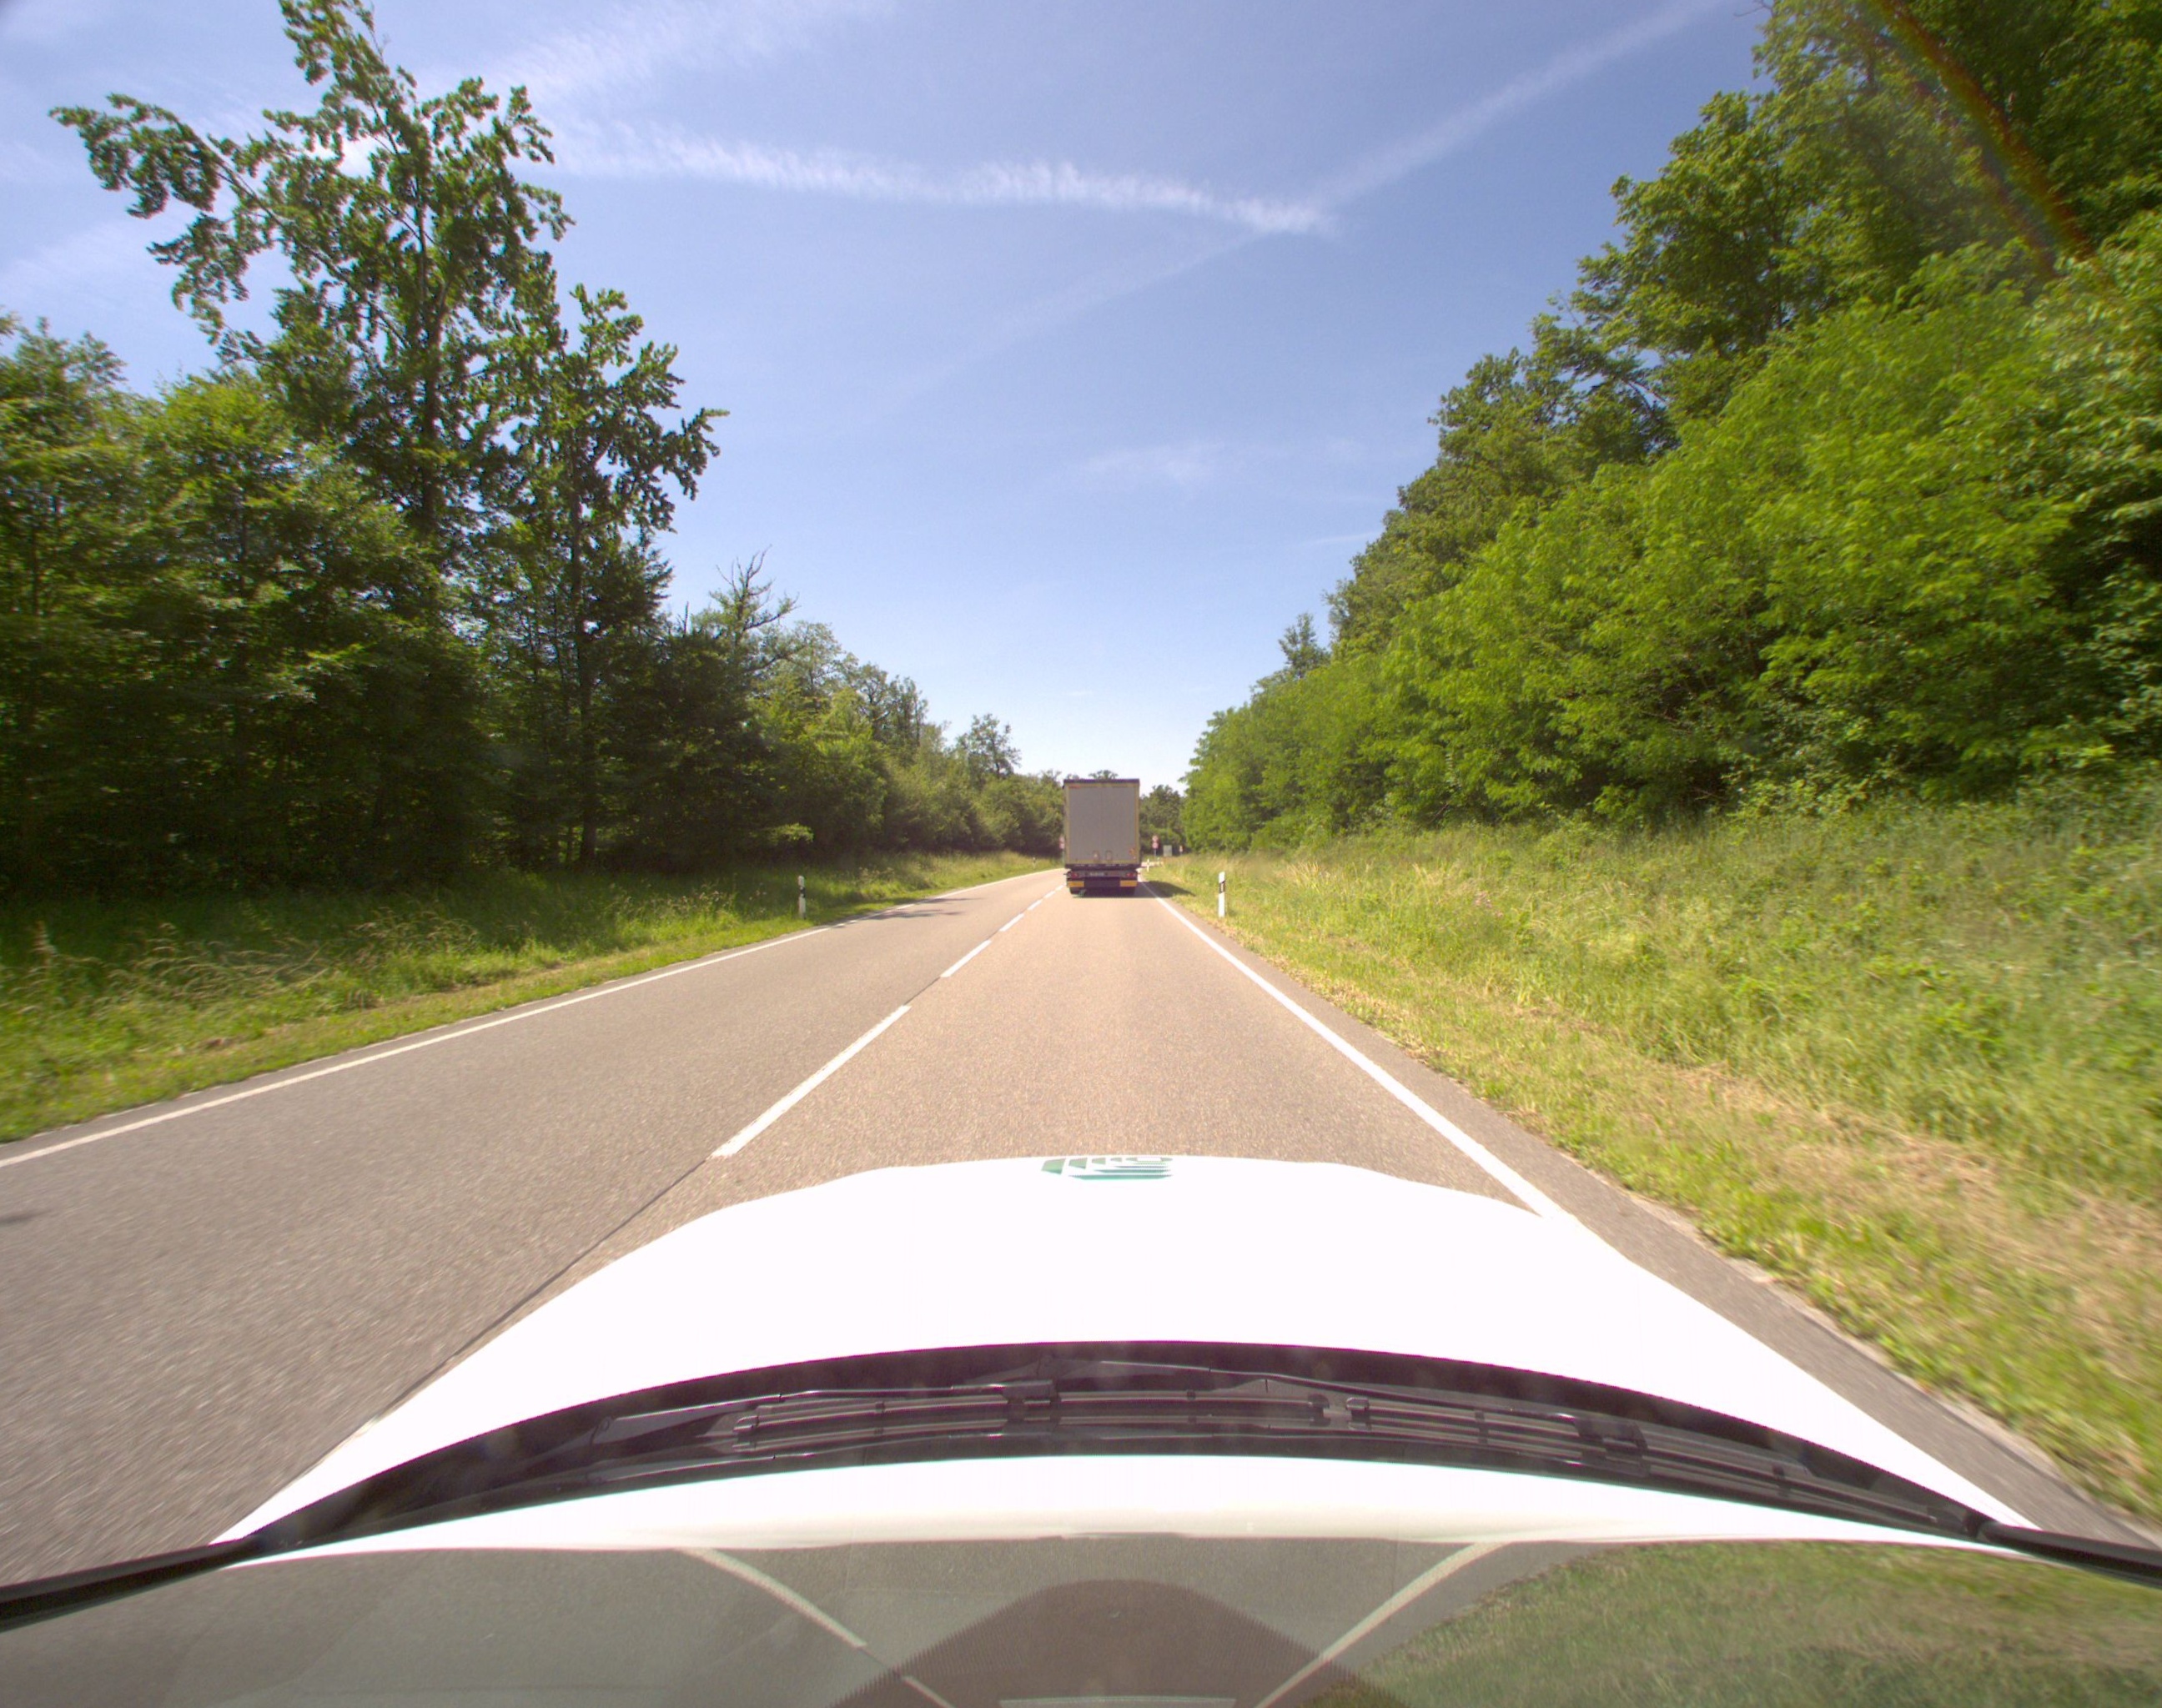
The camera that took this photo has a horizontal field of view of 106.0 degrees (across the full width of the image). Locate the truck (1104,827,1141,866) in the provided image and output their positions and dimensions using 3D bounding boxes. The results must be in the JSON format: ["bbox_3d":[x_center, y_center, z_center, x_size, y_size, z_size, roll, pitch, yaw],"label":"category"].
[{"bbox_3d":[5.157,-0.859,98.183,3.775,4.373,14.942,-1,0,5],"label":"truck"}]

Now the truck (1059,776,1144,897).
[{"bbox_3d":[0.838,-0.599,33.190,2.751,3.947,12.201,-2,0,1],"label":"truck"}]
